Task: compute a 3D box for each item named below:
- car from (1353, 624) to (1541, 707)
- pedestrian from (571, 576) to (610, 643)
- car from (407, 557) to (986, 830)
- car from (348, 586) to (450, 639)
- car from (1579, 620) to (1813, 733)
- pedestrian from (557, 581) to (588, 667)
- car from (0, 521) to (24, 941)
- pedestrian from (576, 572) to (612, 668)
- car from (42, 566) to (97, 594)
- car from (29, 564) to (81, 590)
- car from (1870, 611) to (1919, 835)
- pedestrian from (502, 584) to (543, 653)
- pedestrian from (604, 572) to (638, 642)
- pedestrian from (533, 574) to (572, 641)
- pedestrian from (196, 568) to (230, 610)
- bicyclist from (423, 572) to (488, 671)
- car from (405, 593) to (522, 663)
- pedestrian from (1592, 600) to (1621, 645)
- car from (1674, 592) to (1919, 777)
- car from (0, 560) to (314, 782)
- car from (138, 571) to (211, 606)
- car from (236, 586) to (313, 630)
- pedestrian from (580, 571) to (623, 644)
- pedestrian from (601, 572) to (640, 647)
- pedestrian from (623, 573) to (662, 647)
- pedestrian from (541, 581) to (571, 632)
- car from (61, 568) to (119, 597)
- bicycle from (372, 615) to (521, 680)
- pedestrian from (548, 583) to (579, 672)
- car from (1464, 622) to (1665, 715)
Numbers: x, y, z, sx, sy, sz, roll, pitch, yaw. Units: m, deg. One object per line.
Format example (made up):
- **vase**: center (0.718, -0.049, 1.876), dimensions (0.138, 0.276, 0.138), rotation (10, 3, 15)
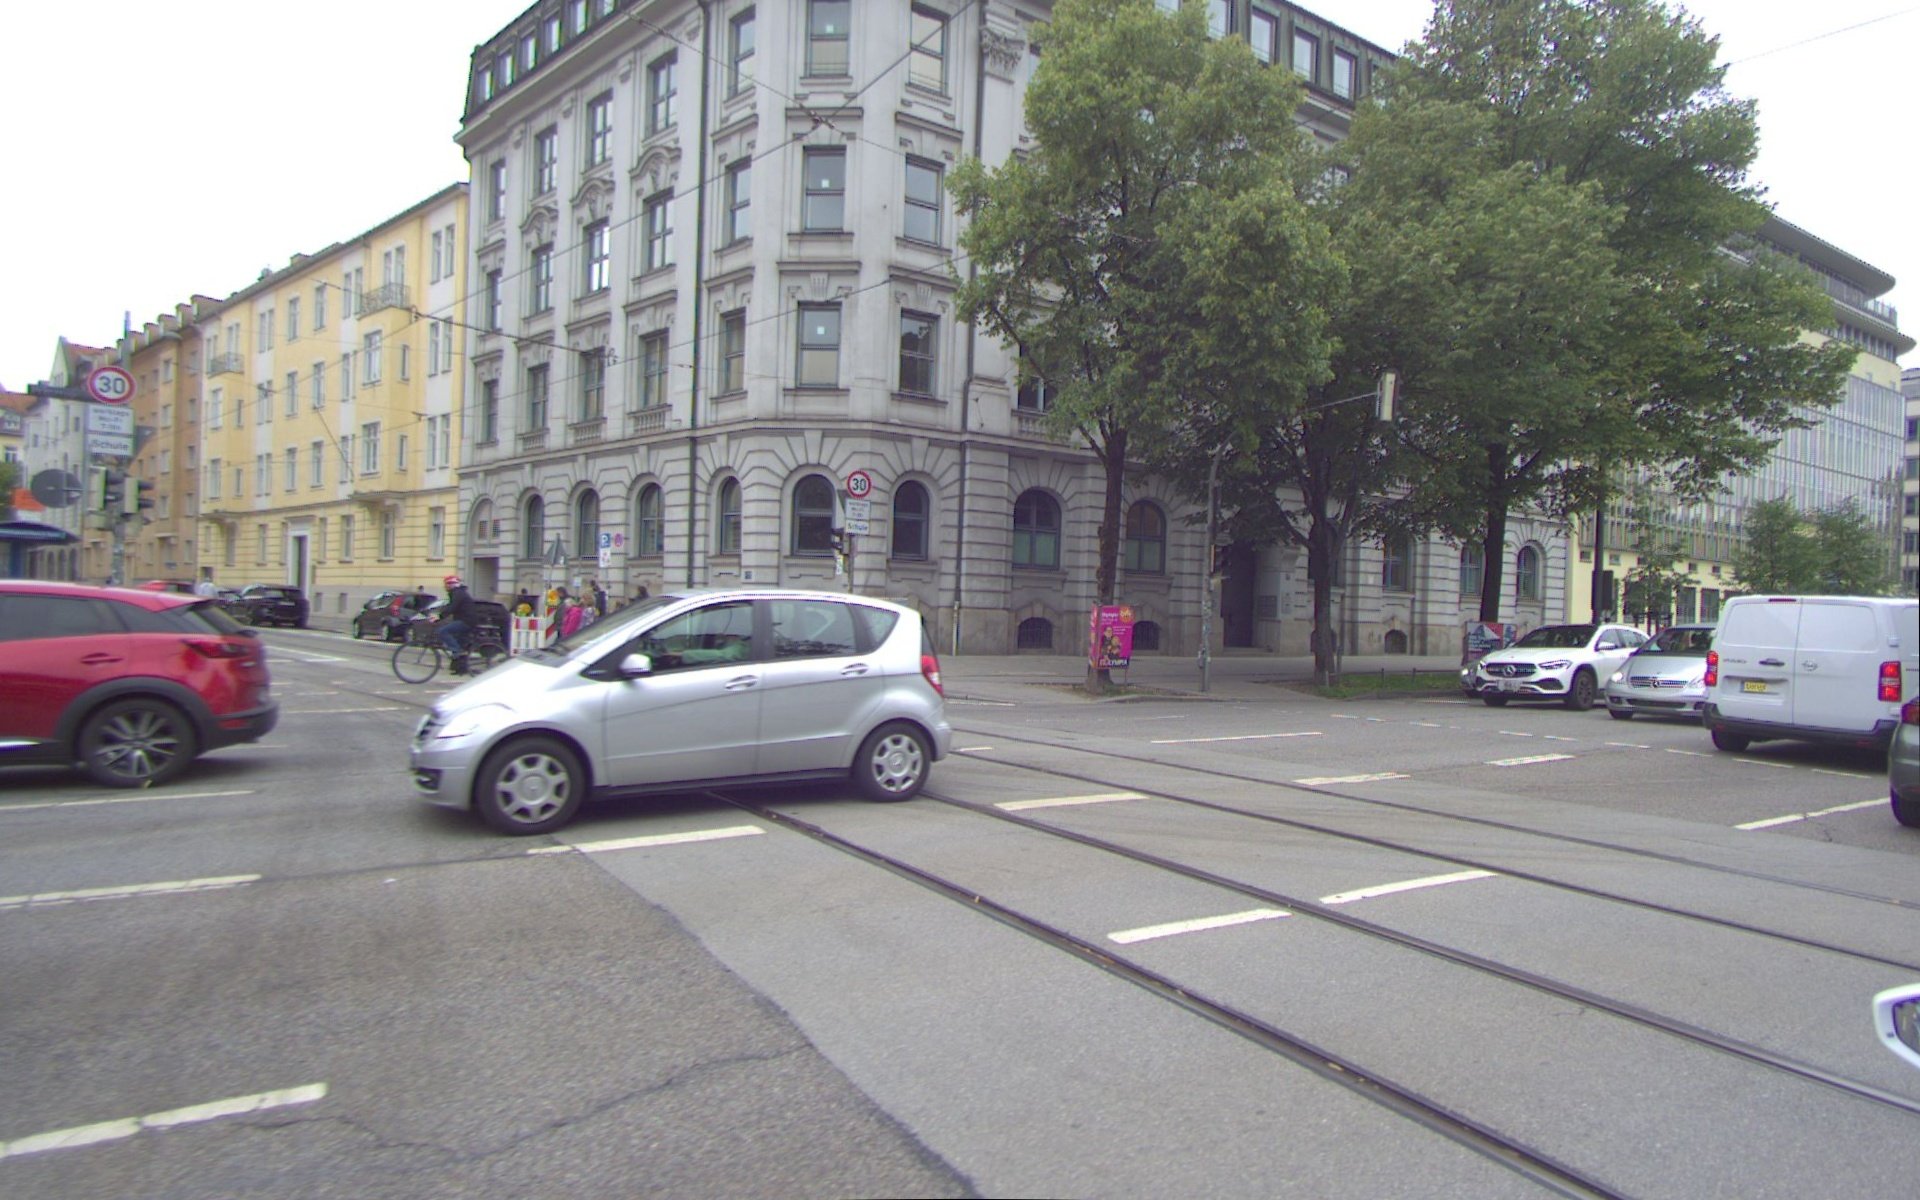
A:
- **car**: center (10.711, 1.427, 22.039), dimensions (4.010, 1.597, 1.726), rotation (3, 0, -30)
- **pedestrian**: center (-11.591, 0.308, 31.524), dimensions (0.768, 2.040, 0.799), rotation (4, 1, 39)
- **car**: center (-1.897, 0.609, 7.557), dimensions (3.900, 1.592, 1.626), rotation (2, 0, -30)
- **car**: center (-17.479, 0.374, 31.267), dimensions (3.521, 1.538, 1.685), rotation (2, 0, 42)
- **car**: center (11.934, 1.188, 16.241), dimensions (3.900, 1.592, 1.626), rotation (2, 0, -30)
- **pedestrian**: center (-8.132, 0.500, 21.087), dimensions (0.462, 1.762, 0.502), rotation (3, 0, -12)
- **car**: center (-5.151, 0.444, 2.222), dimensions (4.157, 1.658, 1.714), rotation (3, -1, -31)
- **pedestrian**: center (-7.393, 0.402, 20.300), dimensions (0.518, 1.879, 0.502), rotation (3, 0, -12)
- **car**: center (-56.208, -1.277, 63.408), dimensions (3.664, 1.617, 1.992), rotation (2, -1, 39)
- **car**: center (-60.156, -1.520, 66.740), dimensions (3.664, 1.617, 1.992), rotation (2, -1, 39)
- **car**: center (8.808, 0.983, 7.615), dimensions (3.954, 1.572, 1.701), rotation (3, 1, -31)
- **pedestrian**: center (-13.366, 0.549, 30.702), dimensions (0.768, 2.040, 0.799), rotation (4, 1, 39)
- **pedestrian**: center (-10.079, 0.206, 29.872), dimensions (0.570, 2.040, 0.664), rotation (4, 1, 39)
- **pedestrian**: center (-12.768, 0.245, 31.453), dimensions (0.768, 2.040, 0.799), rotation (4, 1, 39)
- **pedestrian**: center (-29.281, -0.436, 39.365), dimensions (0.865, 1.597, 0.859), rotation (2, 0, 41)
- **bicyclist**: center (-8.456, 0.356, 16.826), dimensions (0.881, 1.599, 0.657), rotation (2, 1, -30)
- **car**: center (-13.739, 0.749, 27.737), dimensions (3.521, 1.753, 1.685), rotation (2, 0, 42)
- **pedestrian**: center (26.803, 0.926, 41.654), dimensions (0.826, 1.800, 0.612), rotation (2, 1, -30)
- **car**: center (11.032, 0.965, 12.305), dimensions (4.899, 1.872, 1.889), rotation (3, -1, -31)
- **car**: center (-7.448, 0.463, 7.573), dimensions (4.178, 1.550, 1.745), rotation (3, 0, -30)
- **car**: center (-38.553, -0.572, 49.291), dimensions (3.664, 1.617, 1.992), rotation (2, -1, 39)
- **car**: center (-26.935, 0.290, 39.431), dimensions (3.521, 1.597, 1.685), rotation (2, 0, 42)
- **pedestrian**: center (-10.209, 0.215, 28.631), dimensions (0.768, 2.040, 0.799), rotation (4, 1, 39)
- **pedestrian**: center (-9.471, 0.264, 28.032), dimensions (0.768, 2.040, 0.640), rotation (4, 1, 39)
- **pedestrian**: center (-9.023, 0.282, 28.519), dimensions (0.768, 2.040, 0.664), rotation (4, 1, 39)
- **pedestrian**: center (-13.132, 0.223, 32.665), dimensions (0.568, 1.617, 0.645), rotation (4, 1, 39)
- **car**: center (-52.281, -1.038, 60.358), dimensions (3.664, 1.617, 1.992), rotation (2, -1, 39)
- **bicycle**: center (-8.558, 0.803, 16.795), dimensions (2.155, 1.001, 0.658), rotation (3, 1, -30)
- **pedestrian**: center (-8.511, 0.580, 21.581), dimensions (0.462, 1.879, 0.502), rotation (3, 0, -12)
- **car**: center (11.673, 1.277, 19.343), dimensions (3.956, 1.617, 1.734), rotation (2, -2, -32)
